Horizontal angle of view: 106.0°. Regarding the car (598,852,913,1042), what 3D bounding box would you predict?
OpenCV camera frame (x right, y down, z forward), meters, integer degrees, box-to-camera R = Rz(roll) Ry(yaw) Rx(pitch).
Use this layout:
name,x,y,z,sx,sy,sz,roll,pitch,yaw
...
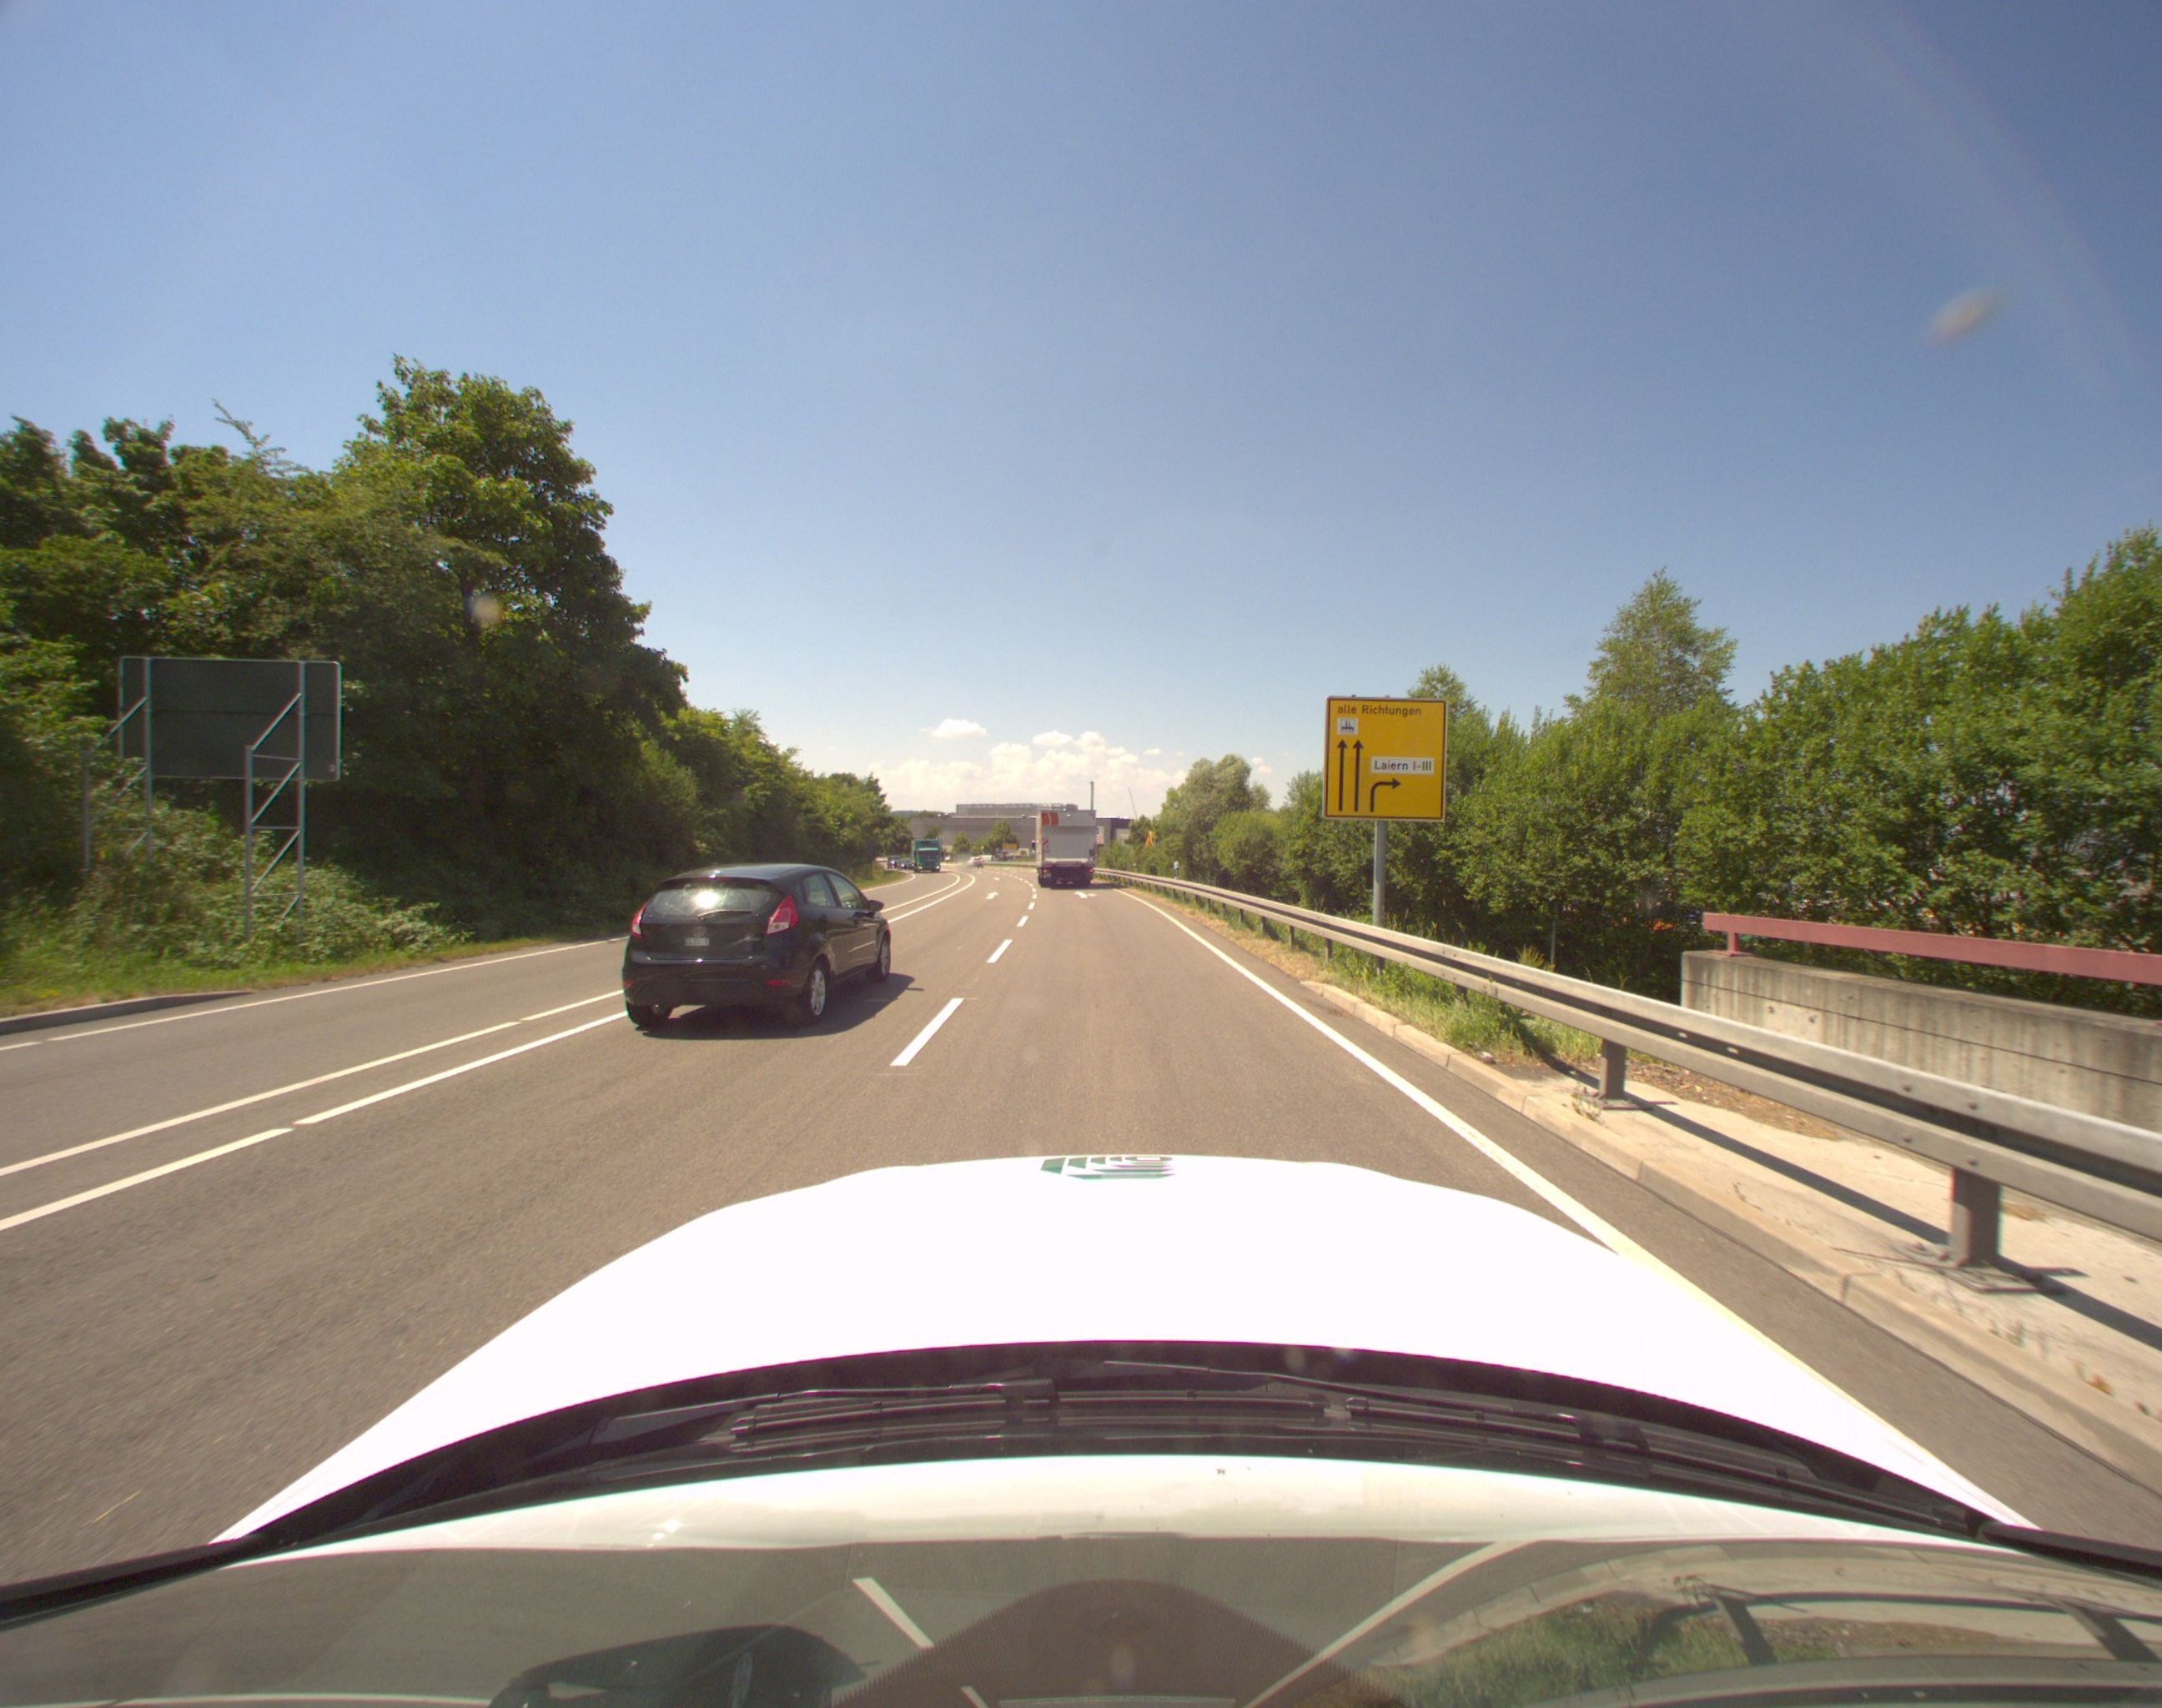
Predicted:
name,x,y,z,sx,sy,sz,roll,pitch,yaw
car,-3.113,0.758,8.806,1.647,1.493,4.208,1,1,1

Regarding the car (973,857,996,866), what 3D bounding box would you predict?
name,x,y,z,sx,sy,sz,roll,pitch,yaw
car,-21.256,1.606,179.839,4.725,1.932,2.155,0,-1,3

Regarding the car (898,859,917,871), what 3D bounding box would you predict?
name,x,y,z,sx,sy,sz,roll,pitch,yaw
car,-22.269,1.400,104.619,1.874,1.442,4.322,-1,0,-5

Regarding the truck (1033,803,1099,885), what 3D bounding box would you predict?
name,x,y,z,sx,sy,sz,roll,pitch,yaw
truck,-0.933,-0.483,41.376,2.798,3.711,9.093,0,0,-4

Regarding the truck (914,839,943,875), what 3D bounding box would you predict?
name,x,y,z,sx,sy,sz,roll,pitch,yaw
truck,-16.187,0.280,86.516,2.870,3.574,9.395,0,0,-11

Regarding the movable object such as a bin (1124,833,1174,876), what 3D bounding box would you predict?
name,x,y,z,sx,sy,sz,roll,pitch,yaw
movable object such as a bin,8.821,-0.033,107.054,3.430,5.260,9.183,2,2,-15

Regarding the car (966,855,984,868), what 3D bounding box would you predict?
name,x,y,z,sx,sy,sz,roll,pitch,yaw
car,-14.786,1.080,113.616,1.946,1.664,3.981,3,-1,-14
